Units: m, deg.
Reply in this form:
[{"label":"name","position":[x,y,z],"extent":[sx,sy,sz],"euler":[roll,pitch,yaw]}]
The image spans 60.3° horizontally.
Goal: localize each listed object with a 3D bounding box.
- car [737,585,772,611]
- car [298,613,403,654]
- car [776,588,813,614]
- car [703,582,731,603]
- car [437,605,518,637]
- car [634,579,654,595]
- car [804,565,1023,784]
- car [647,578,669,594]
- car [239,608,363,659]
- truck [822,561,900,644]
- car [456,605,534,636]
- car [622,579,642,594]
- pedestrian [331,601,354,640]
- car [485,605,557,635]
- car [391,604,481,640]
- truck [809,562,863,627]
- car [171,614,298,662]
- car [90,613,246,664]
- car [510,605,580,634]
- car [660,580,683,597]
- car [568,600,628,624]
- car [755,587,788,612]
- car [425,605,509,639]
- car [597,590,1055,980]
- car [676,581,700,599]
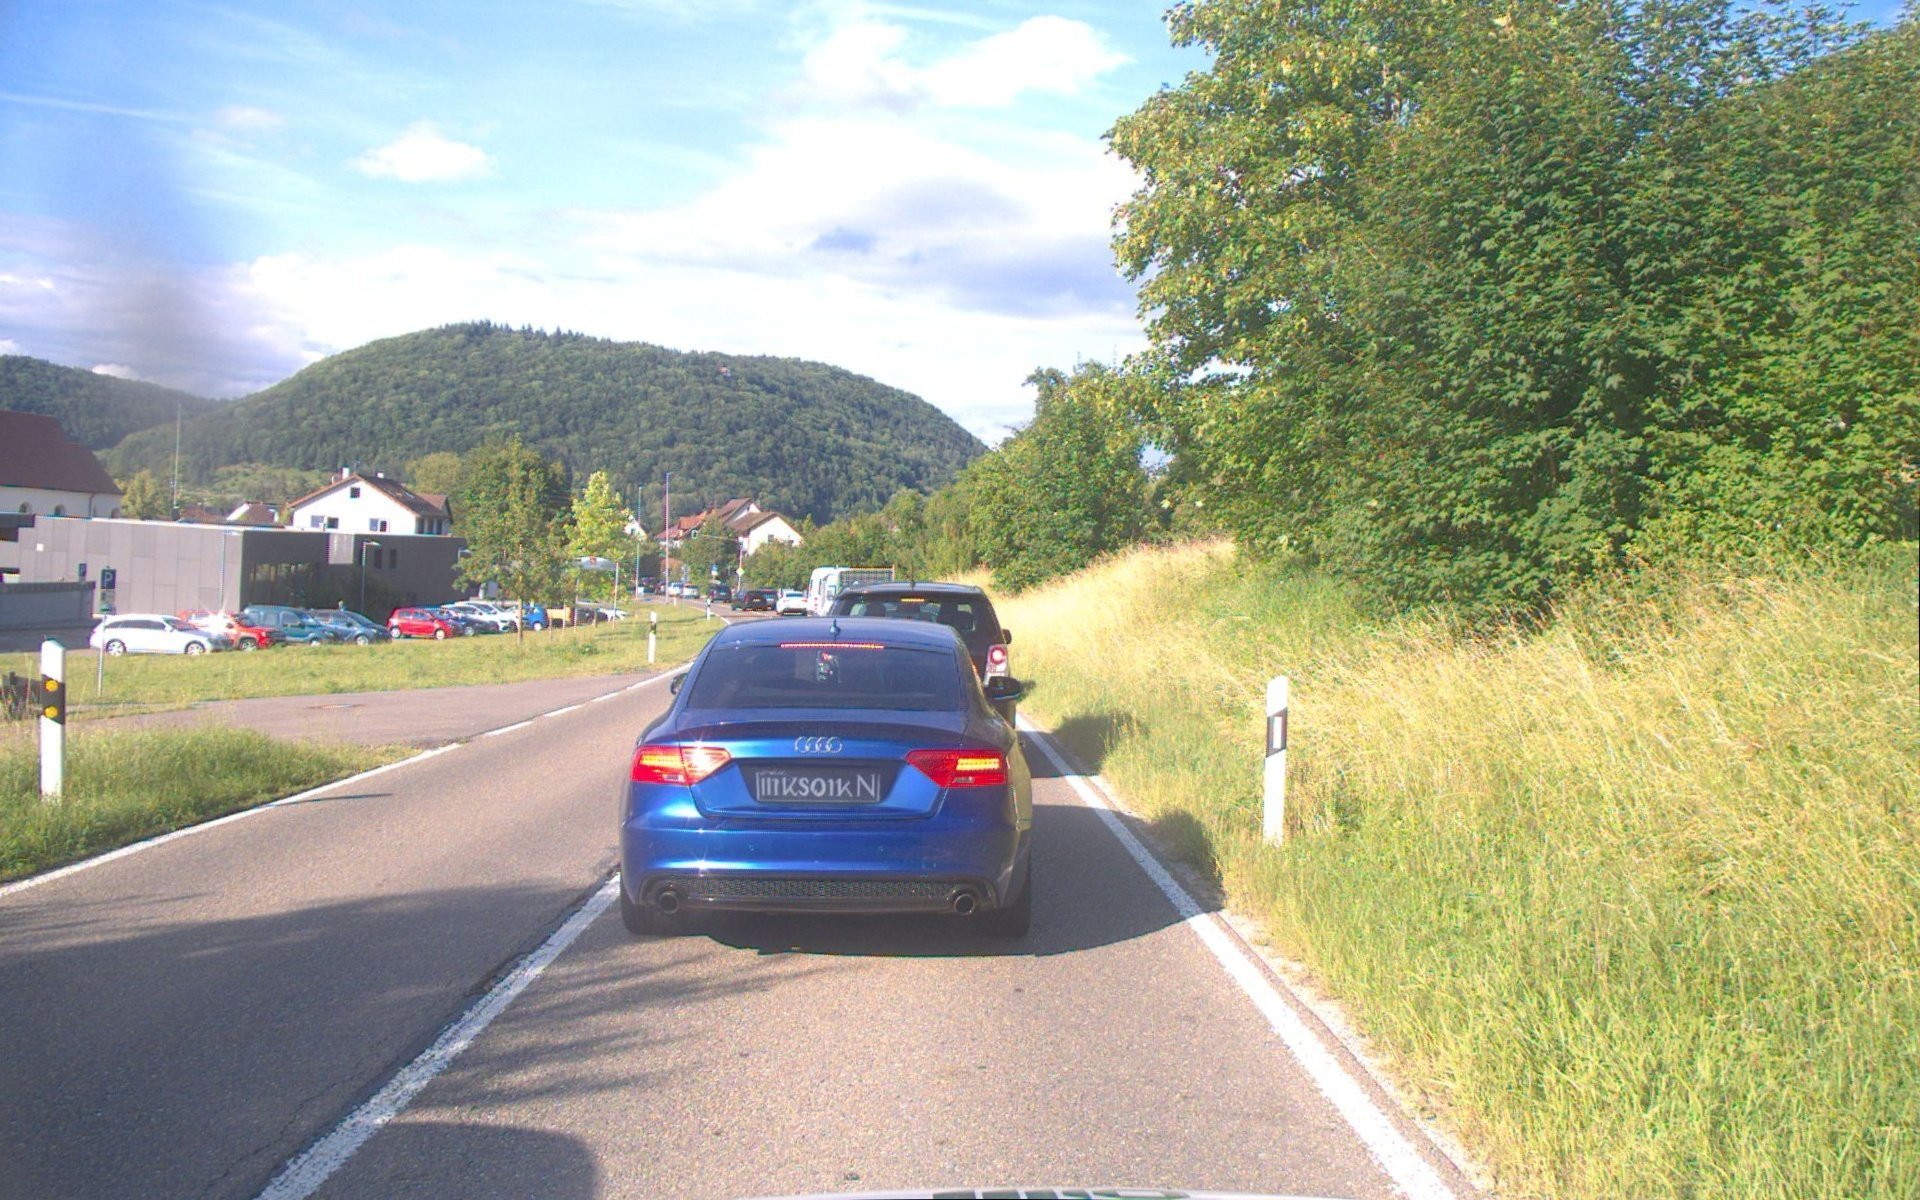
[{"label":"car","position":[-14.100,-0.134,113.230],"extent":[1.815,1.742,3.983],"euler":[1,0,-15]},{"label":"car","position":[-26.979,1.486,73.328],"extent":[3.907,1.741,1.999],"euler":[1,0,-3]},{"label":"car","position":[-10.059,0.048,100.316],"extent":[1.813,1.508,3.988],"euler":[1,0,-12]},{"label":"car","position":[-21.488,-0.637,145.957],"extent":[1.817,1.742,3.979],"euler":[1,0,-18]},{"label":"car","position":[-26.767,1.161,91.832],"extent":[3.907,1.741,1.999],"euler":[1,0,-3]},{"label":"car","position":[-36.290,-1.509,189.849],"extent":[1.817,1.742,3.979],"euler":[1,0,-19]},{"label":"car","position":[-0.368,0.605,15.091],"extent":[1.718,1.710,3.846],"euler":[1,0,0]},{"label":"car","position":[-33.118,-1.532,181.376],"extent":[1.817,1.742,3.978],"euler":[1,0,-19]},{"label":"car","position":[-27.372,1.386,68.819],"extent":[4.318,2.043,1.999],"euler":[1,0,-3]},{"label":"truck","position":[-3.400,0.086,55.558],"extent":[2.187,2.615,6.093],"euler":[1,0,-7]},{"label":"car","position":[-26.717,1.179,95.117],"extent":[3.907,1.741,1.999],"euler":[1,0,-3]},{"label":"car","position":[-39.334,-1.655,198.309],"extent":[1.817,1.742,3.979],"euler":[1,0,-19]},{"label":"pedestrian","position":[-32.610,1.099,87.381],"extent":[0.808,2.049,0.973],"euler":[1,-1,-1]},{"label":"car","position":[-26.745,1.209,100.904],"extent":[3.907,1.741,1.999],"euler":[1,0,-3]},{"label":"car","position":[-26.469,1.123,83.632],"extent":[3.907,1.741,1.999],"euler":[1,0,-3]},{"label":"truck","position":[-5.332,-0.218,70.808],"extent":[2.186,2.615,6.701],"euler":[1,0,-5]},{"label":"car","position":[-27.595,1.421,63.005],"extent":[3.907,1.741,1.999],"euler":[1,0,-3]},{"label":"car","position":[-28.658,1.387,59.980],"extent":[4.637,1.741,1.999],"euler":[1,0,-3]},{"label":"car","position":[-25.970,1.236,103.590],"extent":[3.907,1.741,1.999],"euler":[1,0,-3]},{"label":"car","position":[-30.002,-1.212,171.802],"extent":[1.817,1.742,3.979],"euler":[1,0,-19]},{"label":"car","position":[-25.822,0.864,118.158],"extent":[3.907,1.606,1.751],"euler":[1,0,-3]},{"label":"car","position":[-13.564,-0.015,118.766],"extent":[1.814,1.742,3.985],"euler":[1,0,-14]},{"label":"car","position":[-26.244,1.151,88.184],"extent":[3.907,1.741,1.999],"euler":[1,0,-3]},{"label":"car","position":[-0.504,0.715,8.211],"extent":[1.718,1.455,3.846],"euler":[1,0,0]},{"label":"car","position":[-26.788,-0.976,162.823],"extent":[1.817,1.742,3.980],"euler":[1,0,-18]}]
